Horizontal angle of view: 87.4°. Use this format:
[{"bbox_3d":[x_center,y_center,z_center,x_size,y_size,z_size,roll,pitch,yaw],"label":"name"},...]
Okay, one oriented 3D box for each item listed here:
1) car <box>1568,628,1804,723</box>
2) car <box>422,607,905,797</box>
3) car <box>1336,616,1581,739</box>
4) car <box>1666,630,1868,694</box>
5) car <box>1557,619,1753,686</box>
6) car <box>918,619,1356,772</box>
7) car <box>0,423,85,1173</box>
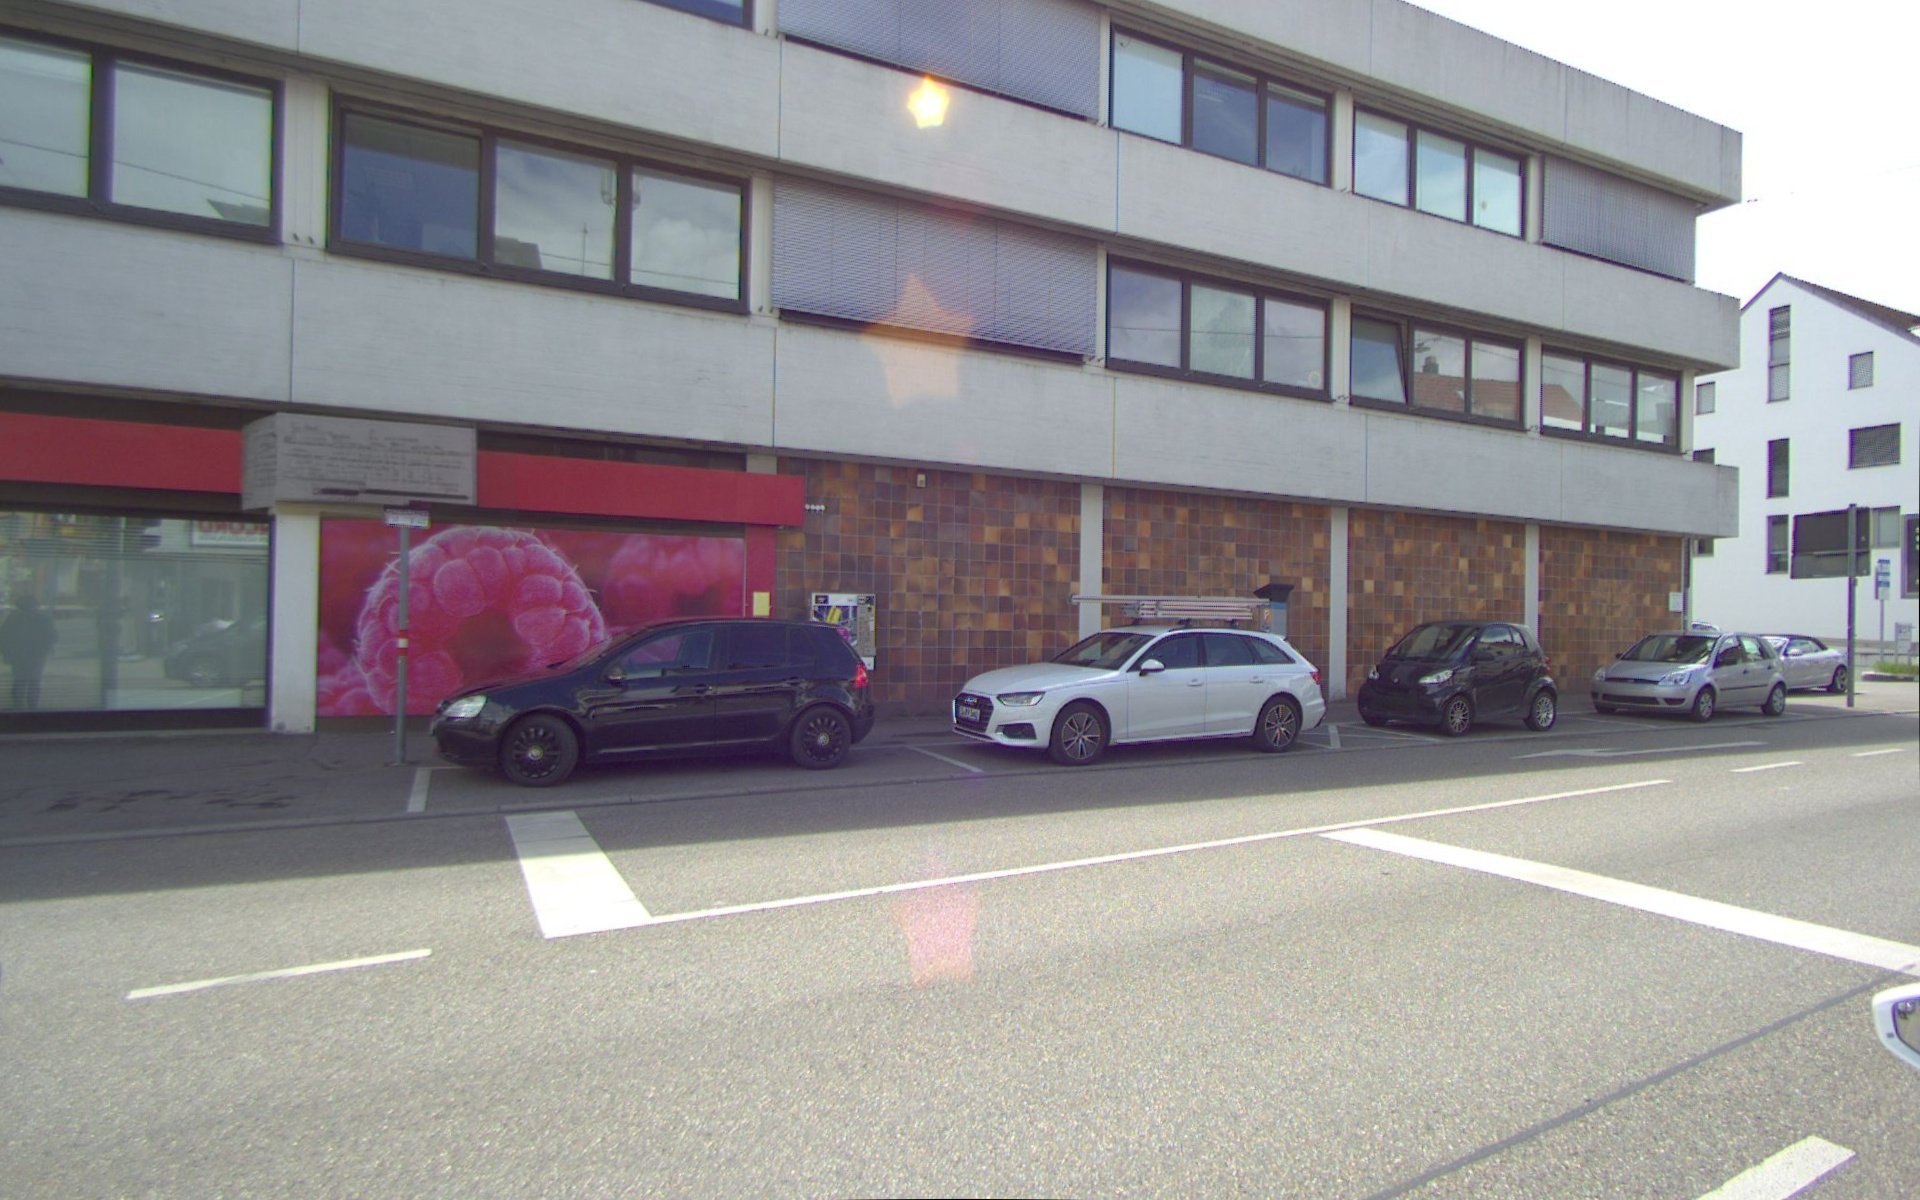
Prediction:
[{"bbox_3d":[12.697,1.238,17.538,4.095,1.441,1.715,1,0,-28],"label":"car"},{"bbox_3d":[-2.891,0.852,9.921,4.232,1.495,2.036,1,0,-29],"label":"car"},{"bbox_3d":[7.202,1.048,14.534,3.016,1.576,1.730,1,0,-27],"label":"car"},{"bbox_3d":[19.288,1.422,23.986,4.791,1.376,1.945,1,-1,-26],"label":"car"},{"bbox_3d":[18.288,1.356,26.424,4.860,1.640,1.947,0,-4,-24],"label":"car"},{"bbox_3d":[2.142,0.995,11.918,4.888,1.463,2.037,1,0,-27],"label":"car"},{"bbox_3d":[-4.375,0.464,1.104,4.822,1.901,1.939,1,-2,-32],"label":"car"}]
